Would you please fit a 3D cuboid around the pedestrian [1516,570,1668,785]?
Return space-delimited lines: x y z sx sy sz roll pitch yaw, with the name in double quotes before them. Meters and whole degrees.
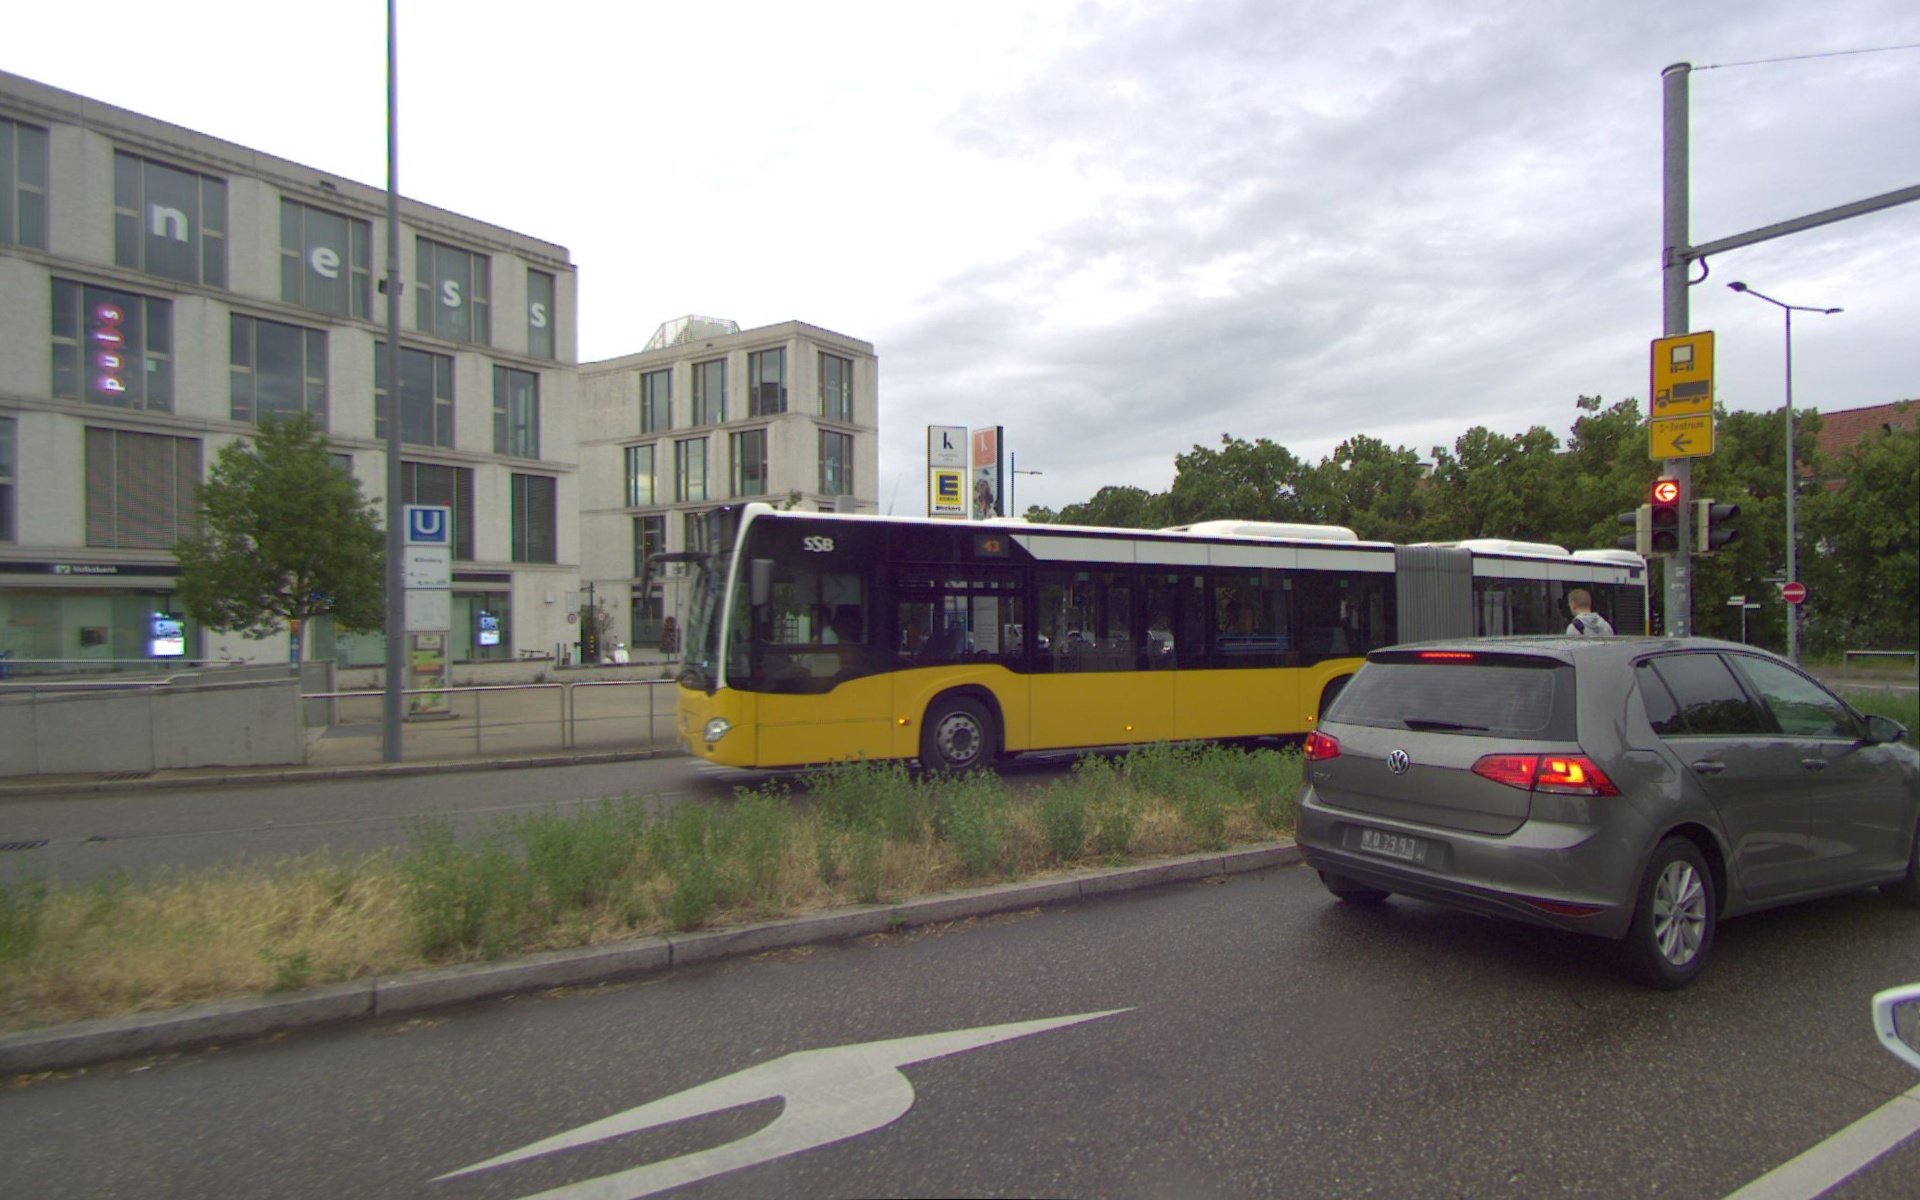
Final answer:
"pedestrian" 6.371 0.766 10.164 0.835 2.039 0.938 1 -4 -24

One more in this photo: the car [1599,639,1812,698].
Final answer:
"car" 22.124 1.968 30.025 1.978 1.444 4.743 1 -1 -32

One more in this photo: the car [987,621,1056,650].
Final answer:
"car" 3.631 2.072 59.731 1.940 1.551 4.509 1 -1 -30

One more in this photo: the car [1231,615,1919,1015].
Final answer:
"car" 3.660 0.864 5.469 4.146 1.448 1.798 1 -3 -29

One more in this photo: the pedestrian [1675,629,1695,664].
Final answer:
"pedestrian" 32.153 2.064 44.533 0.612 1.509 0.767 0 -1 45

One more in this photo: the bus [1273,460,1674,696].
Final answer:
"bus" 9.439 -0.199 17.943 8.493 3.351 2.868 2 -1 -36

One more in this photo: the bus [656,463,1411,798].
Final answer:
"bus" 1.302 0.402 12.923 9.631 3.144 2.878 1 -1 -27

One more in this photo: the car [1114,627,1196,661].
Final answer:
"car" 9.318 2.088 48.193 1.824 1.444 3.754 1 -1 -31
